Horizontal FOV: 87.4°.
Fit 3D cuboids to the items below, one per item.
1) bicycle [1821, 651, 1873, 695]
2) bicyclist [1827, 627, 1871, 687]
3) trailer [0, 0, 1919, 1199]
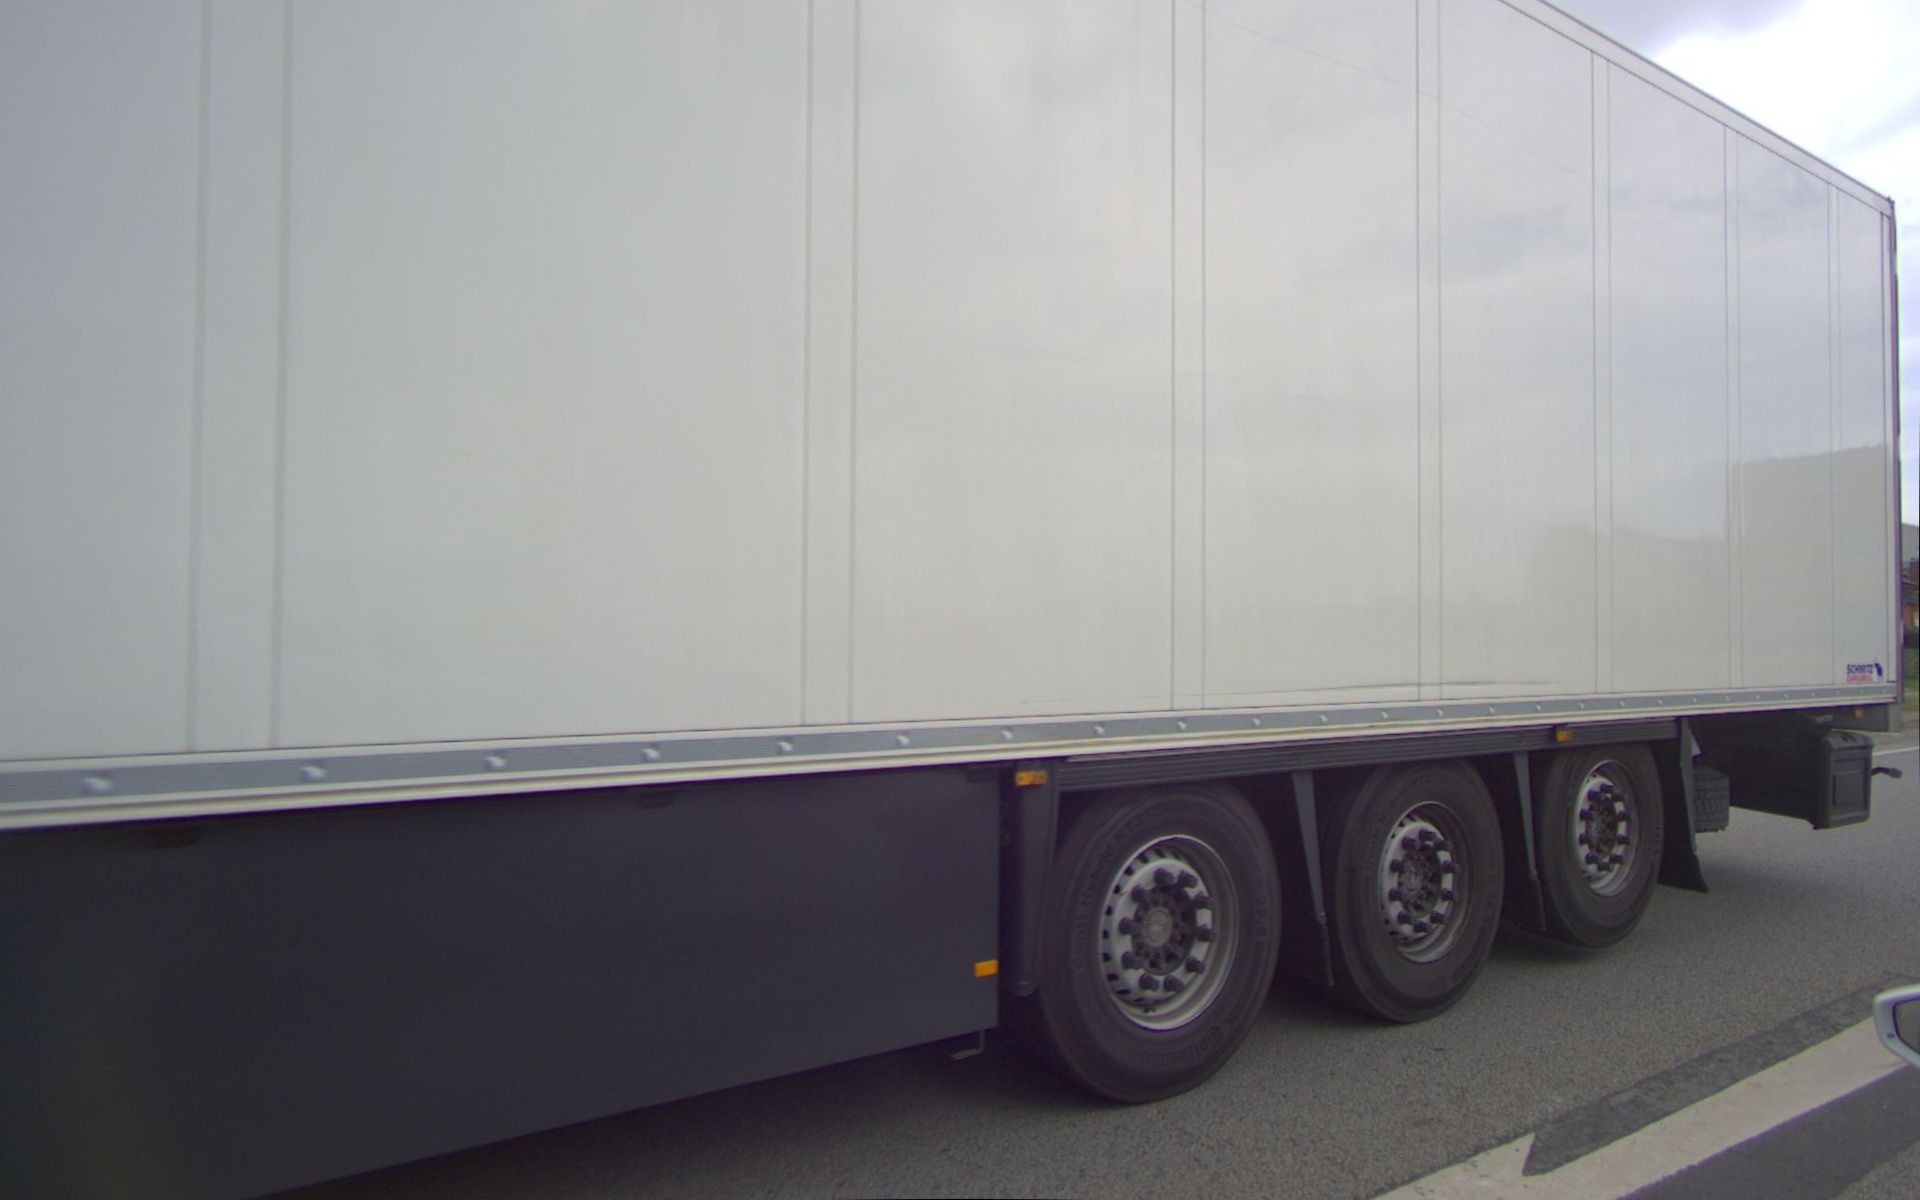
[{"bbox_3d":[24.258,1.986,27.458,1.774,1.171,0.526,1,-3,-31],"label":"bicycle"},{"bbox_3d":[24.379,1.558,27.552,1.209,1.605,0.526,1,-3,-31],"label":"bicyclist"},{"bbox_3d":[-0.609,-0.566,3.713,13.606,4.175,2.622,2,-2,-31],"label":"trailer"}]
